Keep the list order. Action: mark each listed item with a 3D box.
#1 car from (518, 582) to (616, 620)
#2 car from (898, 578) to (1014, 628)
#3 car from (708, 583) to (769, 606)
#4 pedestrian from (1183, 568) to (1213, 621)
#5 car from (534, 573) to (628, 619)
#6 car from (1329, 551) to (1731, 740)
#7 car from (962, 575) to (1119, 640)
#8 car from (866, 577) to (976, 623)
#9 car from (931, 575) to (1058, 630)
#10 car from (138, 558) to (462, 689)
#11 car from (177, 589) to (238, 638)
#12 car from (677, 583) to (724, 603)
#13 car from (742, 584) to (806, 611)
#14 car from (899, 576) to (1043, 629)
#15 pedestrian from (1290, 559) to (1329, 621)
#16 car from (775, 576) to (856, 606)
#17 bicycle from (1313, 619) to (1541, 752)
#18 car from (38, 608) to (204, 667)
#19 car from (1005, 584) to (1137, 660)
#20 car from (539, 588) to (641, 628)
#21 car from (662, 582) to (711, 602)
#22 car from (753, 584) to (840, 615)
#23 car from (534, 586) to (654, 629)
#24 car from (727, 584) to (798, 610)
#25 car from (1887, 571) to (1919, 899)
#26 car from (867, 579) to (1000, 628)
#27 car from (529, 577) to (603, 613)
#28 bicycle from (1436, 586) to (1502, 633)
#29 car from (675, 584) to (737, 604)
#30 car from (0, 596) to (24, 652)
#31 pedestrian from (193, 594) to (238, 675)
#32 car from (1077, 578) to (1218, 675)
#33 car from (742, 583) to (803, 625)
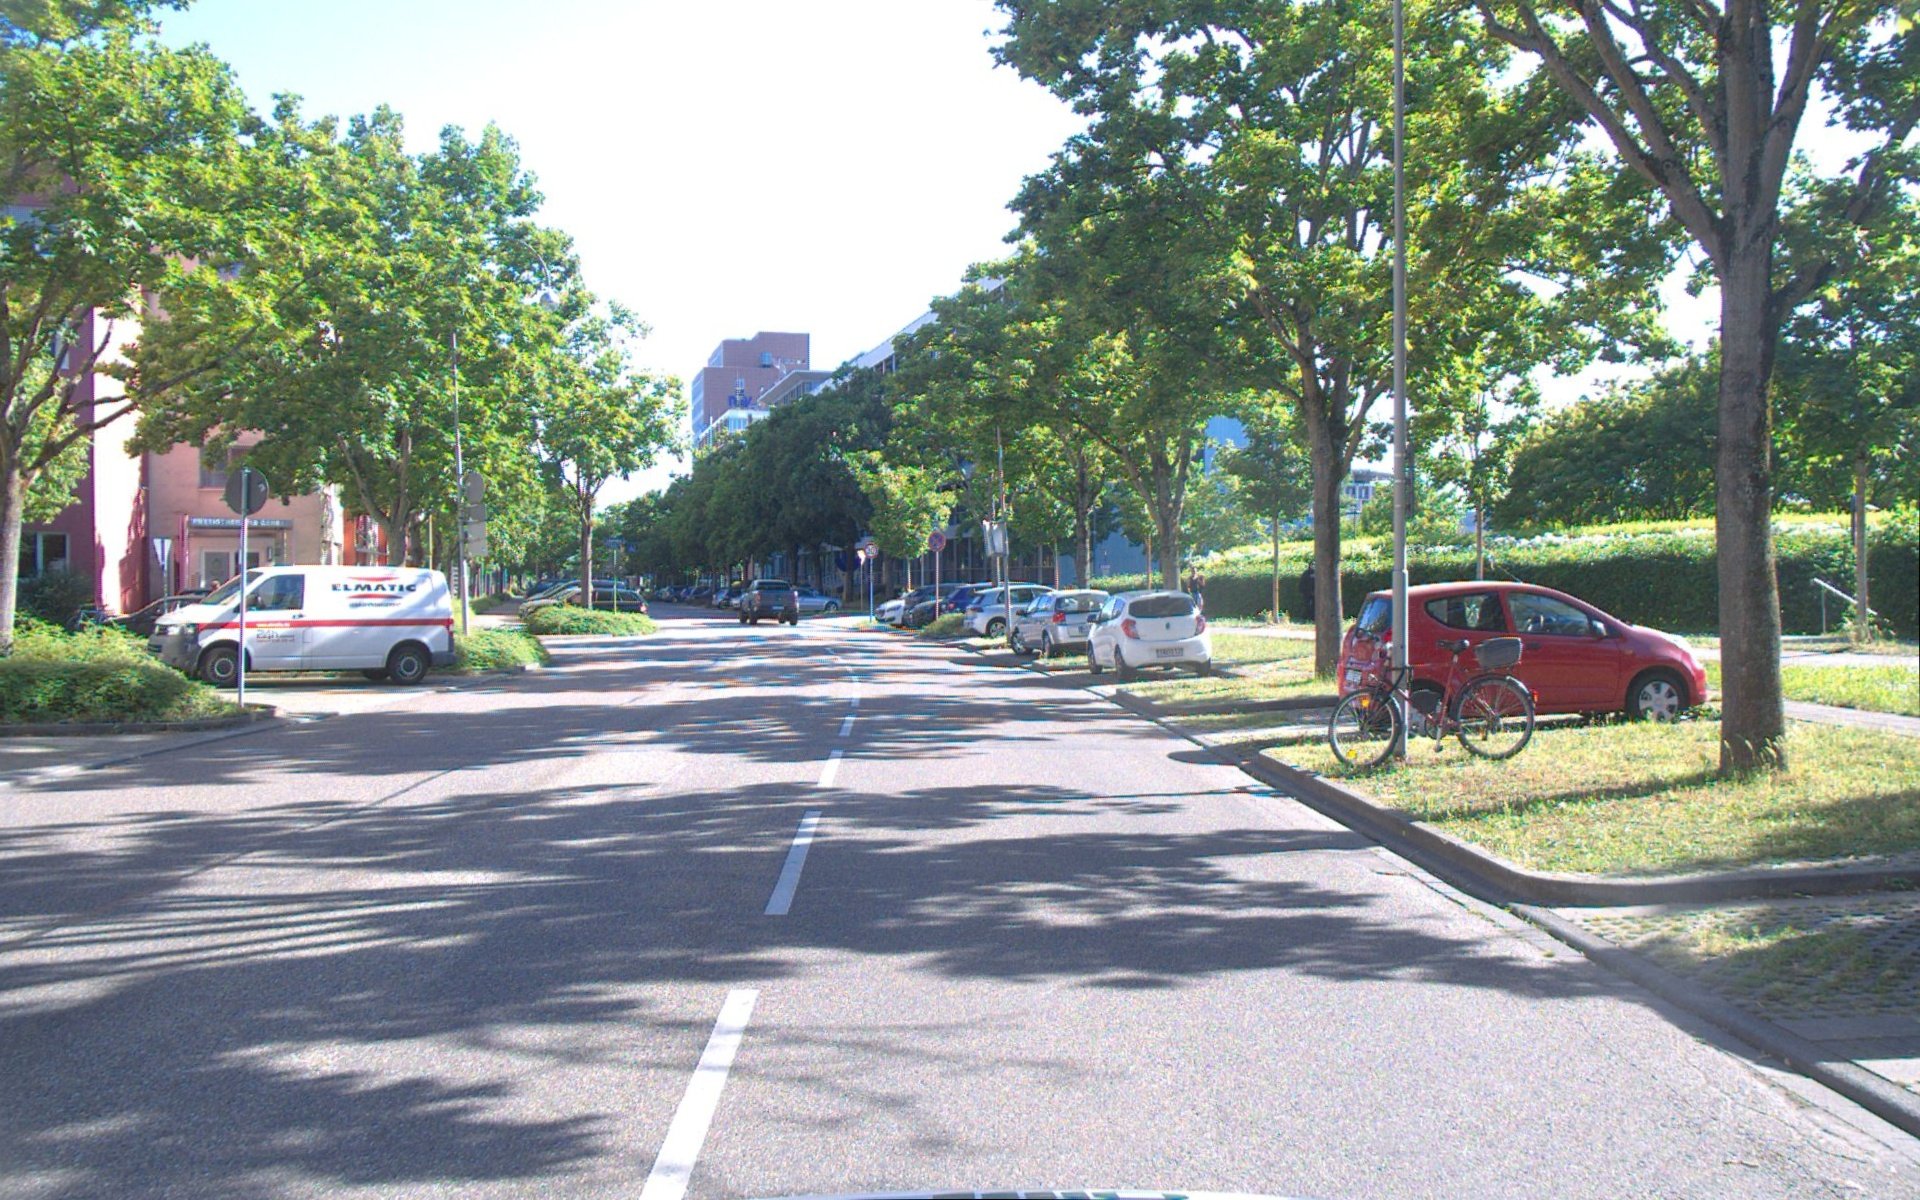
[{"bbox_3d":[-16.113,0.054,67.768,3.827,1.448,1.733,1,0,-15],"label":"car"},{"bbox_3d":[-0.155,0.095,58.852,3.811,1.541,1.744,-3,0,-15],"label":"car"},{"bbox_3d":[-15.260,-0.367,114.040,3.907,1.444,1.702,-2,1,-17],"label":"car"},{"bbox_3d":[7.288,-0.172,50.579,0.596,1.569,0.934,-1,0,-13],"label":"pedestrian"},{"bbox_3d":[-16.097,-0.158,70.220,3.827,1.843,1.779,1,0,-15],"label":"car"},{"bbox_3d":[5.584,0.434,16.477,3.365,1.571,1.627,-4,0,-2],"label":"car"},{"bbox_3d":[2.205,0.199,45.747,4.013,1.454,1.640,-4,1,-8],"label":"car"},{"bbox_3d":[-1.502,-0.001,63.819,3.891,1.541,1.691,-3,0,-21],"label":"car"},{"bbox_3d":[1.104,0.081,53.766,3.741,1.473,1.739,-5,1,-13],"label":"car"},{"bbox_3d":[-11.043,0.349,27.849,4.725,2.019,1.972,0,1,-40],"label":"car"},{"bbox_3d":[-24.531,0.396,53.843,1.712,1.468,4.098,-2,1,-26],"label":"car"},{"bbox_3d":[-22.607,-0.603,143.994,3.882,1.541,1.806,-2,1,-14],"label":"car"},{"bbox_3d":[-11.734,-0.170,104.426,3.690,1.519,1.606,-2,1,-22],"label":"car"},{"bbox_3d":[0.352,0.070,56.357,4.474,1.541,2.150,-3,0,-15],"label":"car"},{"bbox_3d":[9.289,-0.275,43.980,0.711,1.615,0.850,-1,0,-13],"label":"pedestrian"},{"bbox_3d":[-8.283,-0.513,94.855,4.435,1.569,1.917,-2,1,-11],"label":"car"},{"bbox_3d":[3.794,0.693,13.543,1.713,1.008,0.530,-2,0,9],"label":"bicycle"},{"bbox_3d":[-23.978,1.055,47.420,3.916,1.472,1.797,-1,3,-15],"label":"car"},{"bbox_3d":[2.427,0.453,37.471,1.777,1.519,4.611,-3,1,-11],"label":"car"},{"bbox_3d":[-14.628,0.310,65.351,3.827,1.448,1.733,1,0,-15],"label":"car"},{"bbox_3d":[-26.066,-0.777,157.593,4.284,1.733,1.803,-2,1,-18],"label":"car"},{"bbox_3d":[-8.952,-0.025,90.325,4.501,1.501,1.740,-2,1,-14],"label":"car"},{"bbox_3d":[-13.374,0.269,60.617,4.187,1.448,1.735,1,0,-11],"label":"car"},{"bbox_3d":[-12.834,-0.171,107.376,4.225,1.519,1.991,-2,1,-22],"label":"car"},{"bbox_3d":[6.138,0.528,6.980,3.395,1.505,1.857,-3,1,-6],"label":"car"},{"bbox_3d":[-0.981,0.133,61.275,4.485,1.541,1.970,-3,0,-21],"label":"car"},{"bbox_3d":[-24.683,-0.336,103.800,4.410,2.126,2.076,1,0,-13],"label":"car"},{"bbox_3d":[9.846,0.186,32.039,0.342,0.881,1.397,-2,0,-26],"label":"bicycle"},{"bbox_3d":[-20.854,-0.528,135.770,4.748,1.444,2.023,-2,1,-17],"label":"car"},{"bbox_3d":[-28.656,0.684,46.228,3.929,1.475,1.929,-1,3,-15],"label":"car"},{"bbox_3d":[-16.606,0.763,36.908,0.645,1.756,1.019,-2,0,-11],"label":"pedestrian"},{"bbox_3d":[3.262,0.424,29.500,1.612,1.519,3.760,-3,1,-7],"label":"car"},{"bbox_3d":[-7.868,0.151,69.281,1.960,1.668,3.984,1,0,-15],"label":"car"}]
